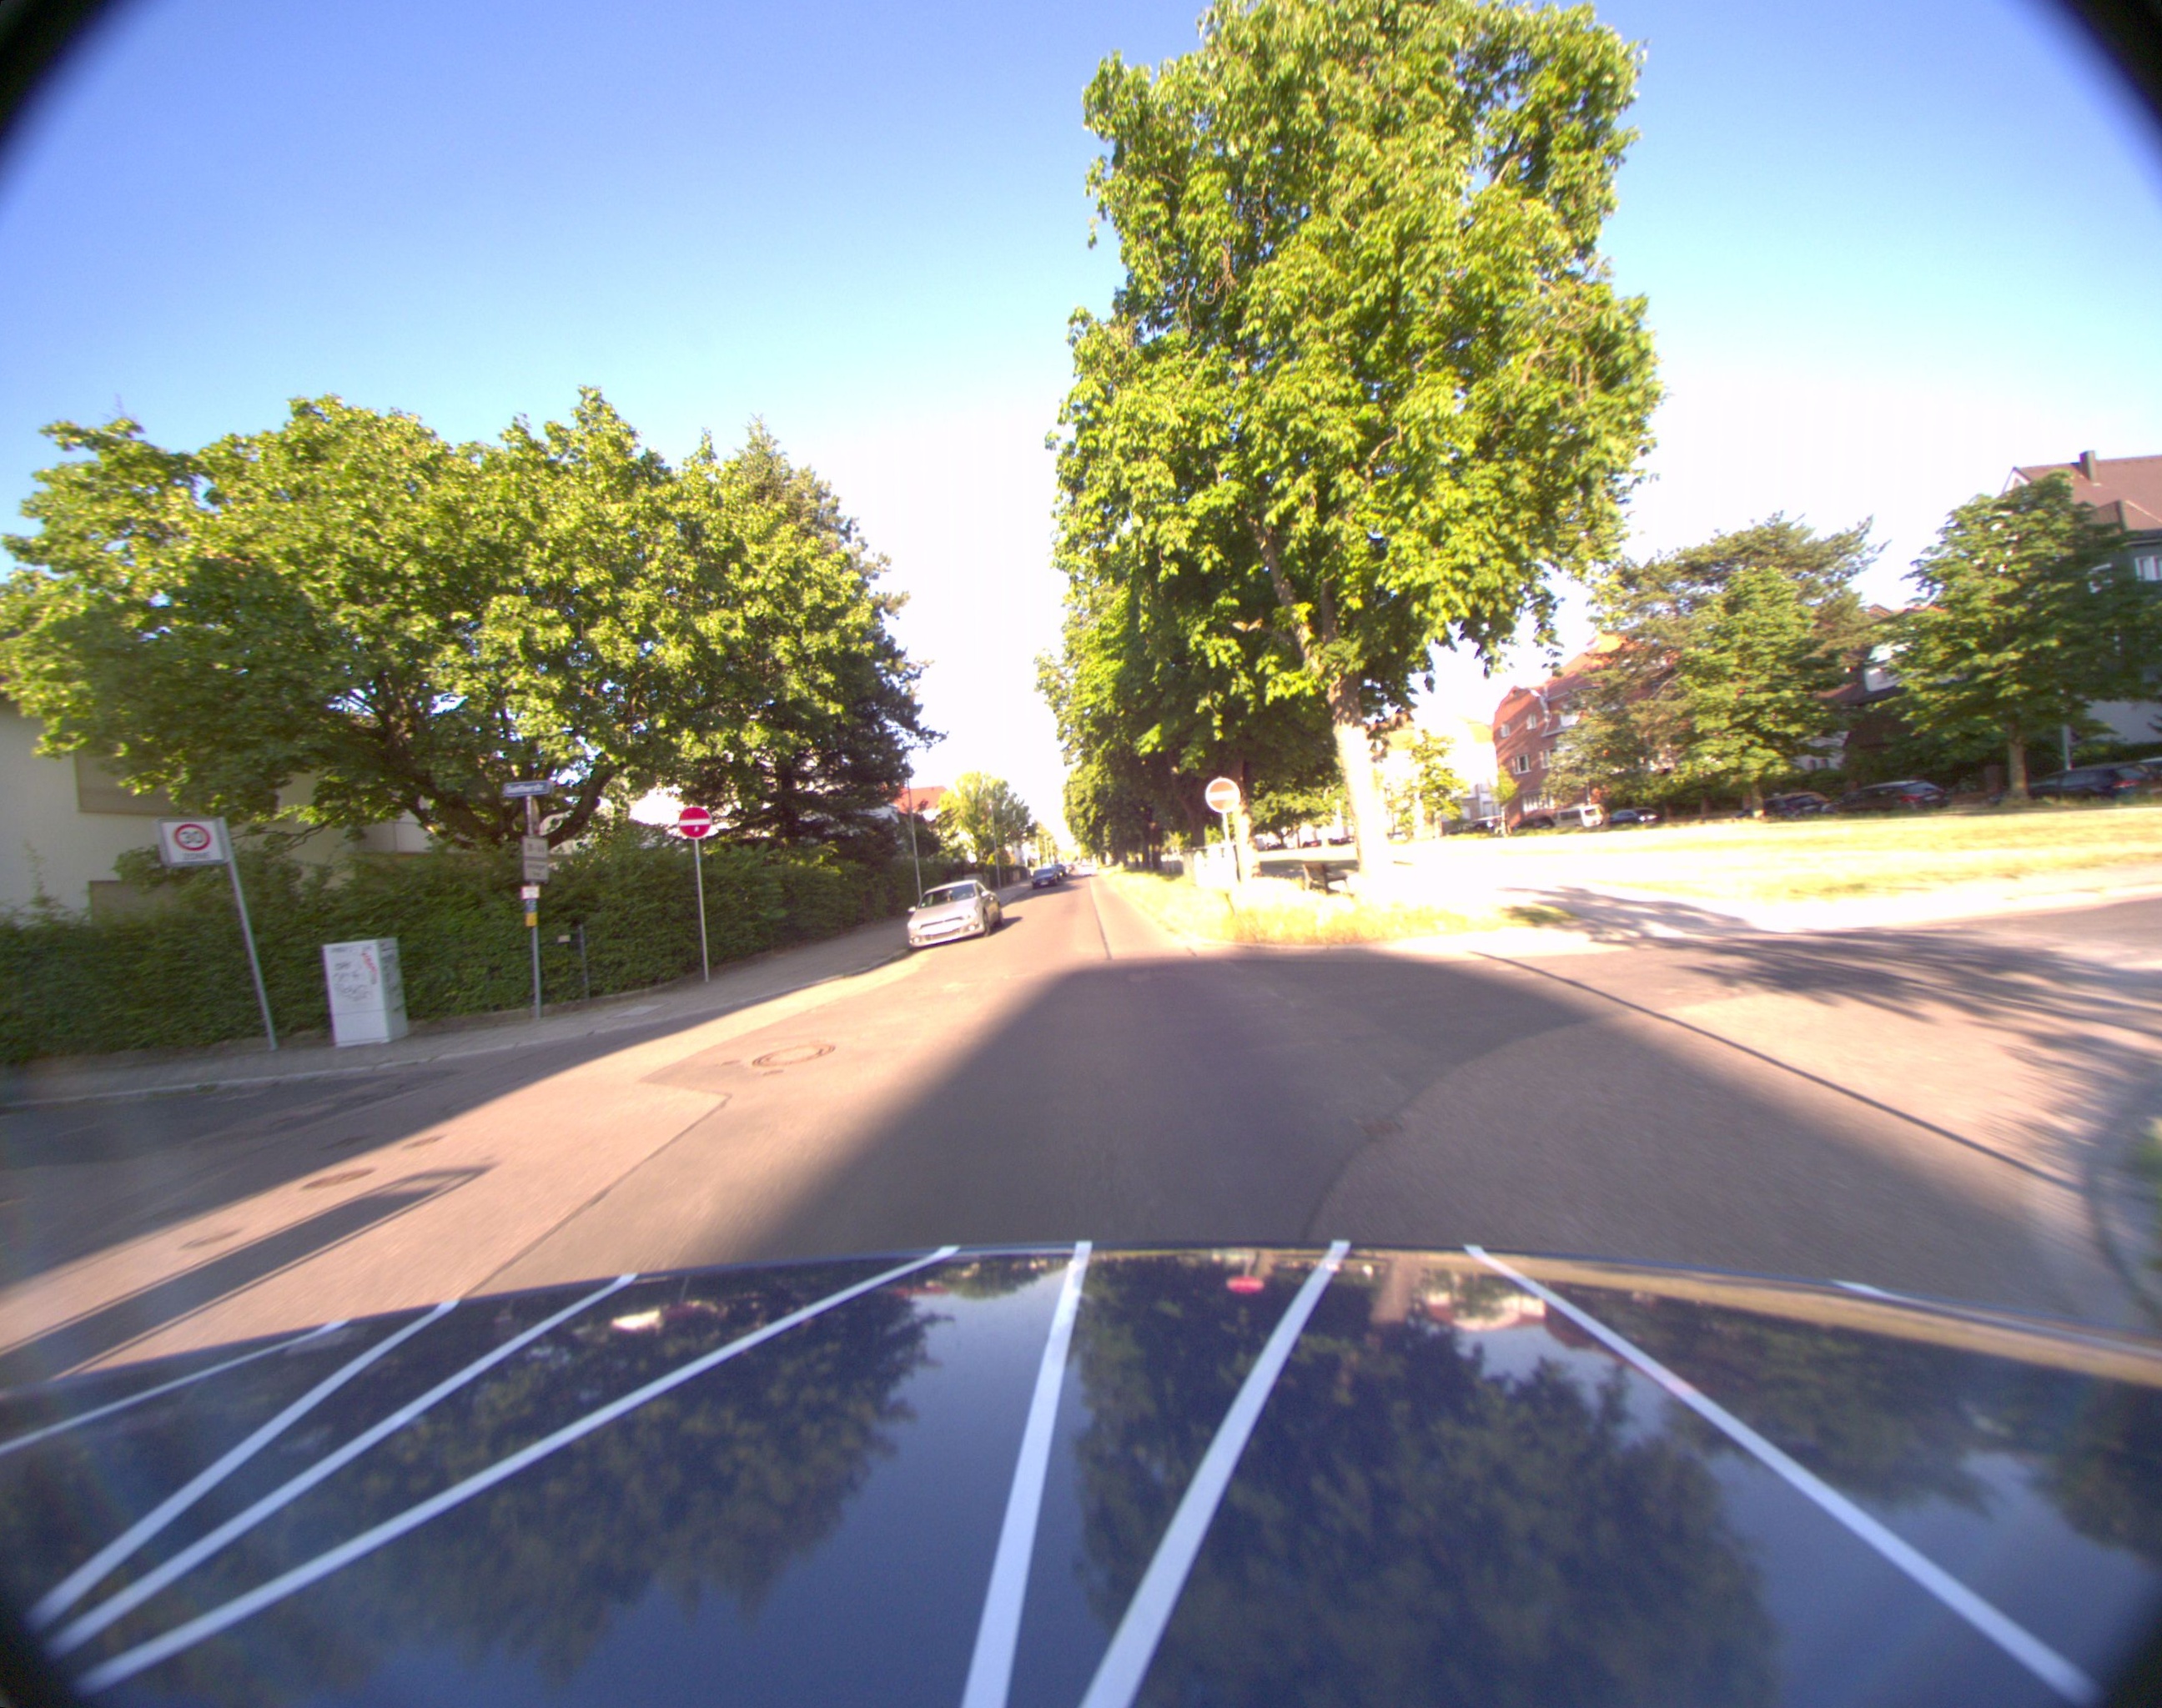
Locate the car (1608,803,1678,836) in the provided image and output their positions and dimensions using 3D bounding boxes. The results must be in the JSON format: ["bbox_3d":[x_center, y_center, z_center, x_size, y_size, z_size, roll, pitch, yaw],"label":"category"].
[{"bbox_3d":[40.277,-2.426,54.601,1.998,2.001,4.001,-6,-1,2],"label":"car"}]

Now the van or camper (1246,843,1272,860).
[{"bbox_3d":[35.259,-0.435,150.853,3.262,3.092,7.898,-6,-1,1],"label":"van or camper"}]

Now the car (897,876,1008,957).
[{"bbox_3d":[-3.042,1.457,18.918,1.761,1.411,4.072,-12,-1,1],"label":"car"}]

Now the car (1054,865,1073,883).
[{"bbox_3d":[-2.070,2.385,91.457,1.999,1.727,4.864,-9,-1,-1],"label":"car"}]

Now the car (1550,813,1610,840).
[{"bbox_3d":[39.948,-2.169,60.983,1.821,1.827,4.409,-6,-1,1],"label":"car"}]

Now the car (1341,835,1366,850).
[{"bbox_3d":[40.818,-1.731,113.764,1.998,2.001,4.877,-6,-1,2],"label":"car"}]

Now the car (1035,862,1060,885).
[{"bbox_3d":[-2.747,1.576,61.431,1.696,1.474,3.928,-10,-1,-4],"label":"car"}]

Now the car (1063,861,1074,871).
[{"bbox_3d":[-2.190,2.133,131.392,1.784,1.490,4.398,-8,-1,-1],"label":"car"}]

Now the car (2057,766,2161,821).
[{"bbox_3d":[39.762,-2.315,28.102,1.999,1.772,4.000,-6,0,-2],"label":"car"}]

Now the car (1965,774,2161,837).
[{"bbox_3d":[33.887,-1.591,26.083,1.998,1.711,4.256,-6,0,2],"label":"car"}]

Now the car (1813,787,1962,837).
[{"bbox_3d":[33.964,-1.699,32.178,1.998,1.674,4.001,-6,0,3],"label":"car"}]

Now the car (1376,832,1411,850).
[{"bbox_3d":[34.507,-1.416,84.094,1.824,1.629,4.651,-6,-1,0],"label":"car"}]

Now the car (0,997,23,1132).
[{"bbox_3d":[-15.022,2.661,8.409,3.853,1.598,1.848,-5,-6,-3],"label":"car"}]

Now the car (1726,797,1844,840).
[{"bbox_3d":[34.249,-1.683,37.132,1.998,1.674,4.001,-6,0,3],"label":"car"}]

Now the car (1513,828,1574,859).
[{"bbox_3d":[34.857,-0.749,57.426,1.998,2.001,4.001,-6,-1,1],"label":"car"}]

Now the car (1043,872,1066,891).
[{"bbox_3d":[-2.476,2.542,71.664,1.798,1.483,4.674,-6,0,0],"label":"car"}]

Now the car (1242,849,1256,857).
[{"bbox_3d":[41.132,-0.276,185.951,1.999,1.680,4.876,-6,-1,-2],"label":"car"}]

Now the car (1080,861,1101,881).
[{"bbox_3d":[1.050,1.841,84.309,1.998,2.001,4.000,-6,-1,1],"label":"car"}]

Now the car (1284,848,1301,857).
[{"bbox_3d":[41.407,-0.263,148.785,1.998,1.455,4.000,-5,-1,0],"label":"car"}]

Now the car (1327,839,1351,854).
[{"bbox_3d":[40.385,-1.128,119.110,1.999,2.001,4.429,-6,-1,-1],"label":"car"}]

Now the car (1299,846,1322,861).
[{"bbox_3d":[34.764,-0.023,115.225,1.998,2.001,4.877,-6,-1,2],"label":"car"}]

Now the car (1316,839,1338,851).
[{"bbox_3d":[40.404,-1.530,124.894,1.999,1.642,4.429,-6,-1,-1],"label":"car"}]

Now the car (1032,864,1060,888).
[{"bbox_3d":[-2.563,1.580,55.974,1.753,1.468,4.288,-7,-1,-2],"label":"car"}]

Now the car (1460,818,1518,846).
[{"bbox_3d":[34.359,-1.811,64.195,1.998,1.928,5.247,-6,-1,1],"label":"car"}]
